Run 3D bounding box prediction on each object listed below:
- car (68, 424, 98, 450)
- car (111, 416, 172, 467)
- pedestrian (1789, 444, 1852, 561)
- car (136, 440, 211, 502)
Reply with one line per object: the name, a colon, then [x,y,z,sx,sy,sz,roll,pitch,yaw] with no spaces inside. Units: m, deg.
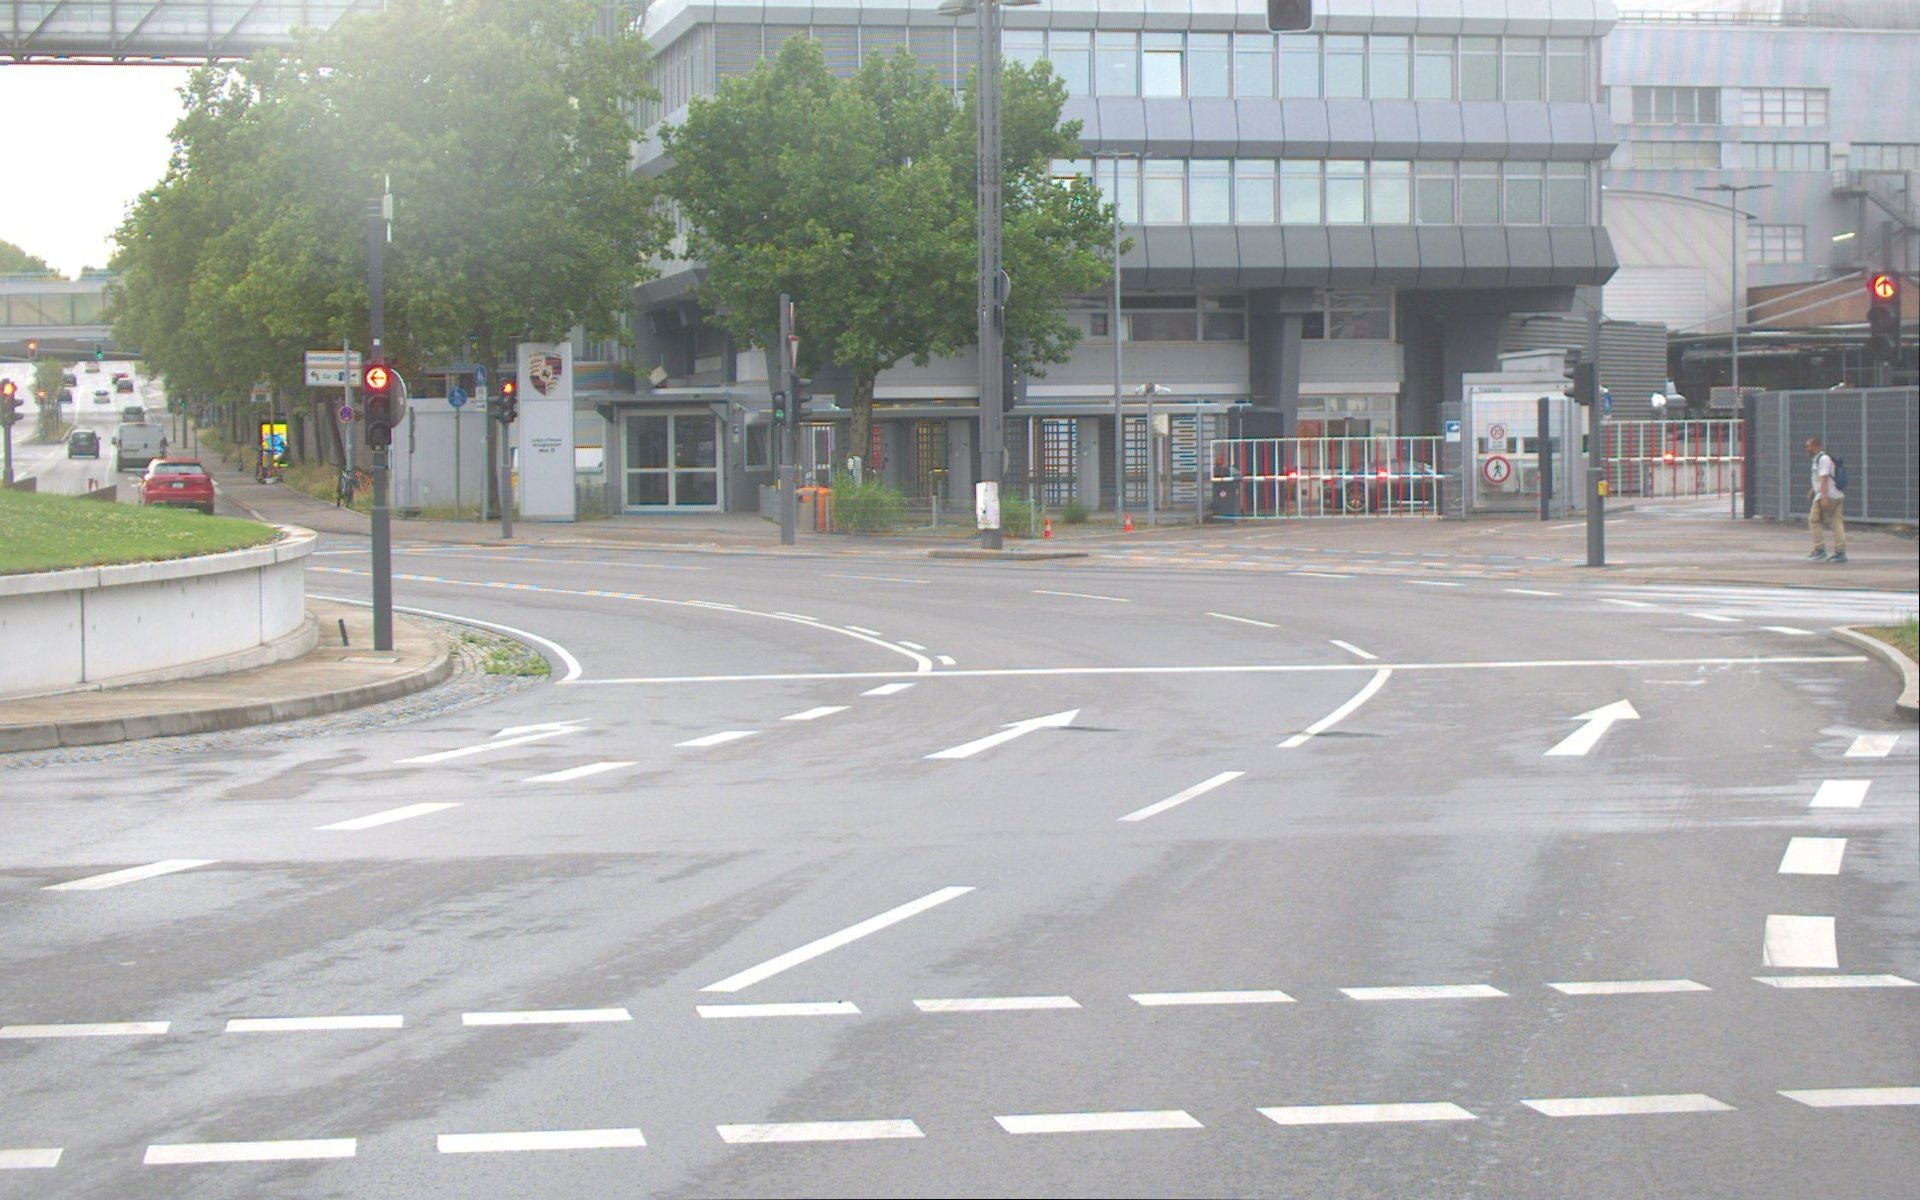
car: [-48.355,-8.989,189.517,1.556,1.284,3.415,-1,0,-15]
car: [-37.286,-7.179,156.546,2.232,2.100,4.956,-1,0,-19]
pedestrian: [12.045,-1.351,48.090,0.808,1.605,0.769,-1,0,17]
car: [-20.083,-3.277,87.866,1.772,1.459,3.734,-1,0,-12]
